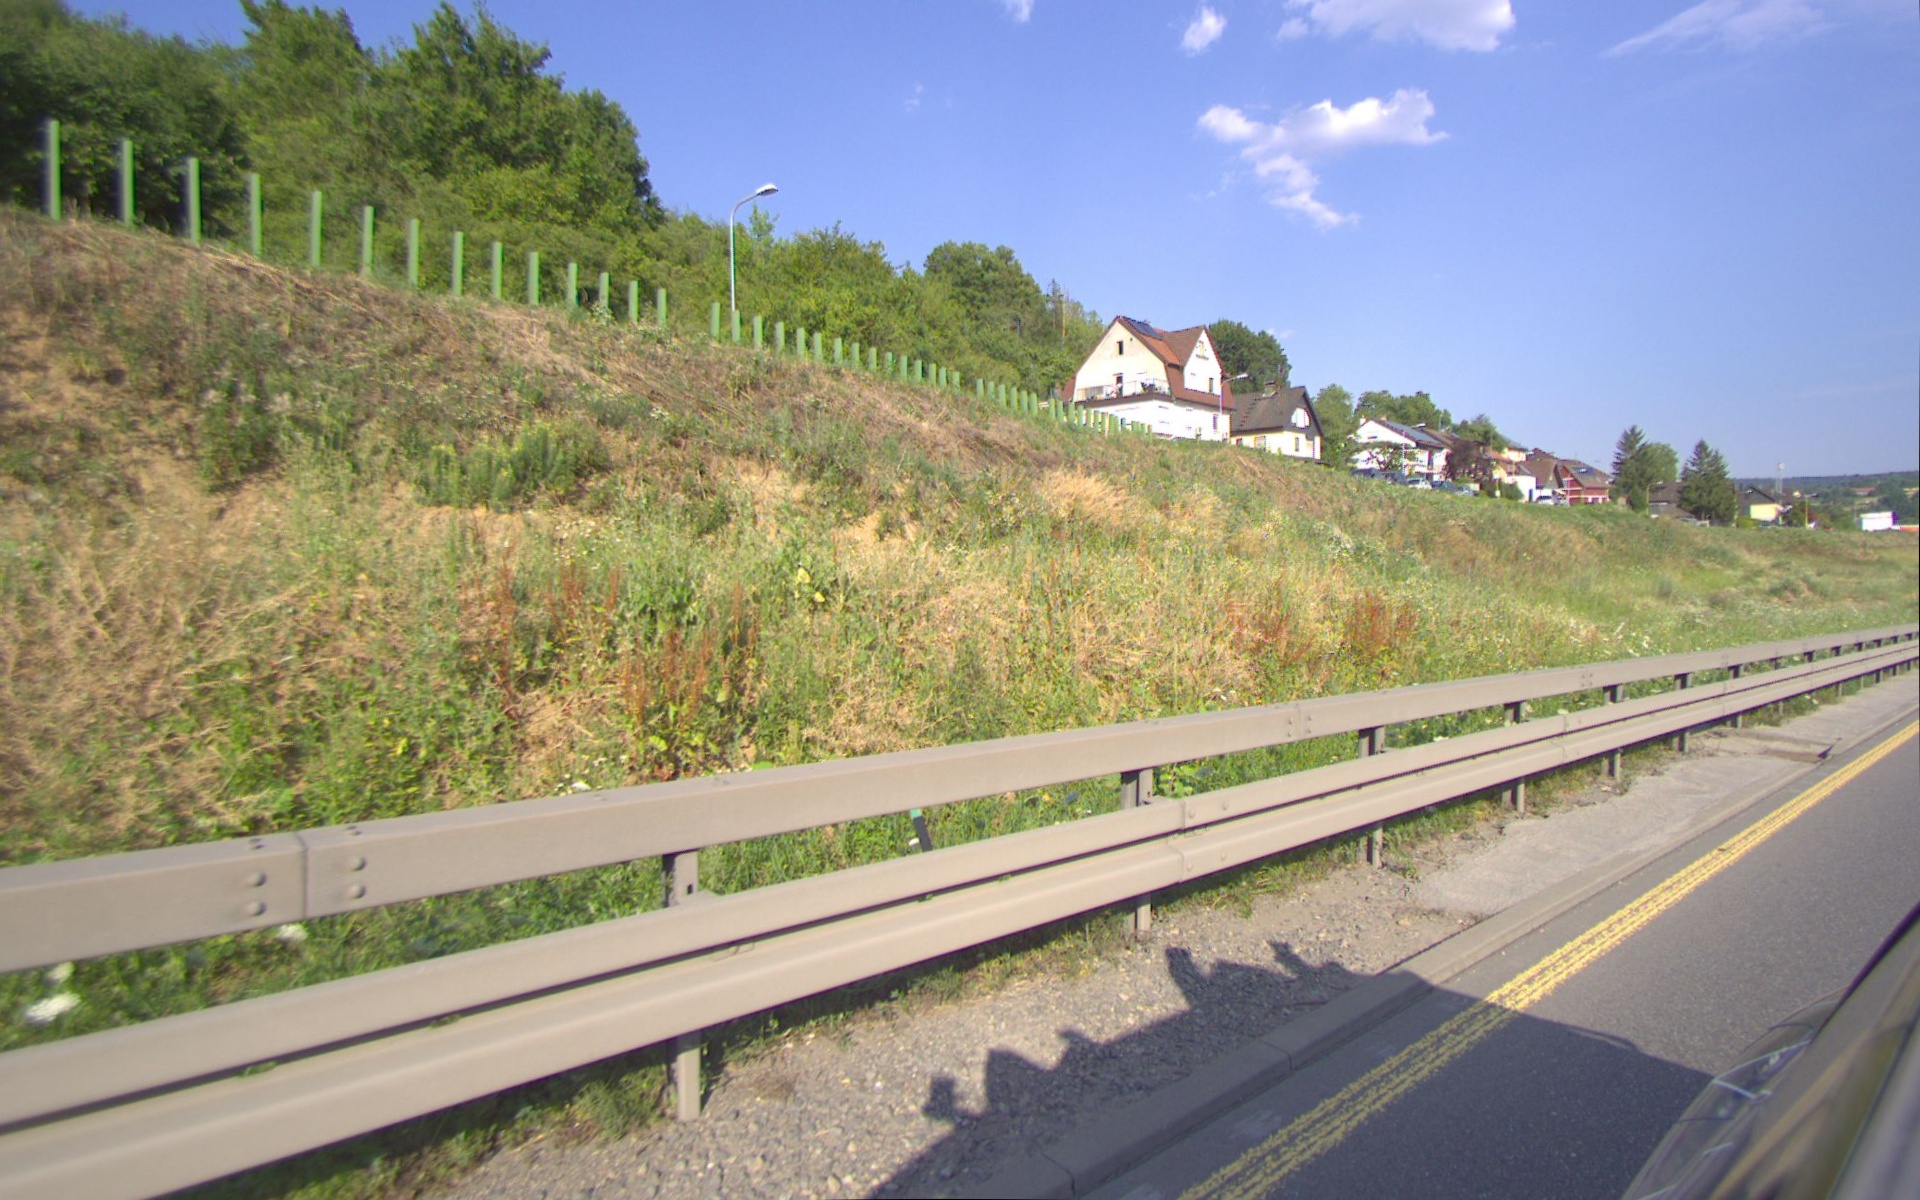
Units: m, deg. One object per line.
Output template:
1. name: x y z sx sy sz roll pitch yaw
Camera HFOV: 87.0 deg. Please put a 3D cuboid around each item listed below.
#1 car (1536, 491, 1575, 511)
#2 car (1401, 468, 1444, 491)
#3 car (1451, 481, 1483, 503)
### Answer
1. car: 55.160 -9.152 93.692 3.932 1.460 1.996 -1 1 -42
2. car: 31.947 -8.327 69.869 3.835 1.248 1.345 -2 1 -43
3. car: 38.956 -8.258 77.701 1.443 1.389 3.508 0 1 39
